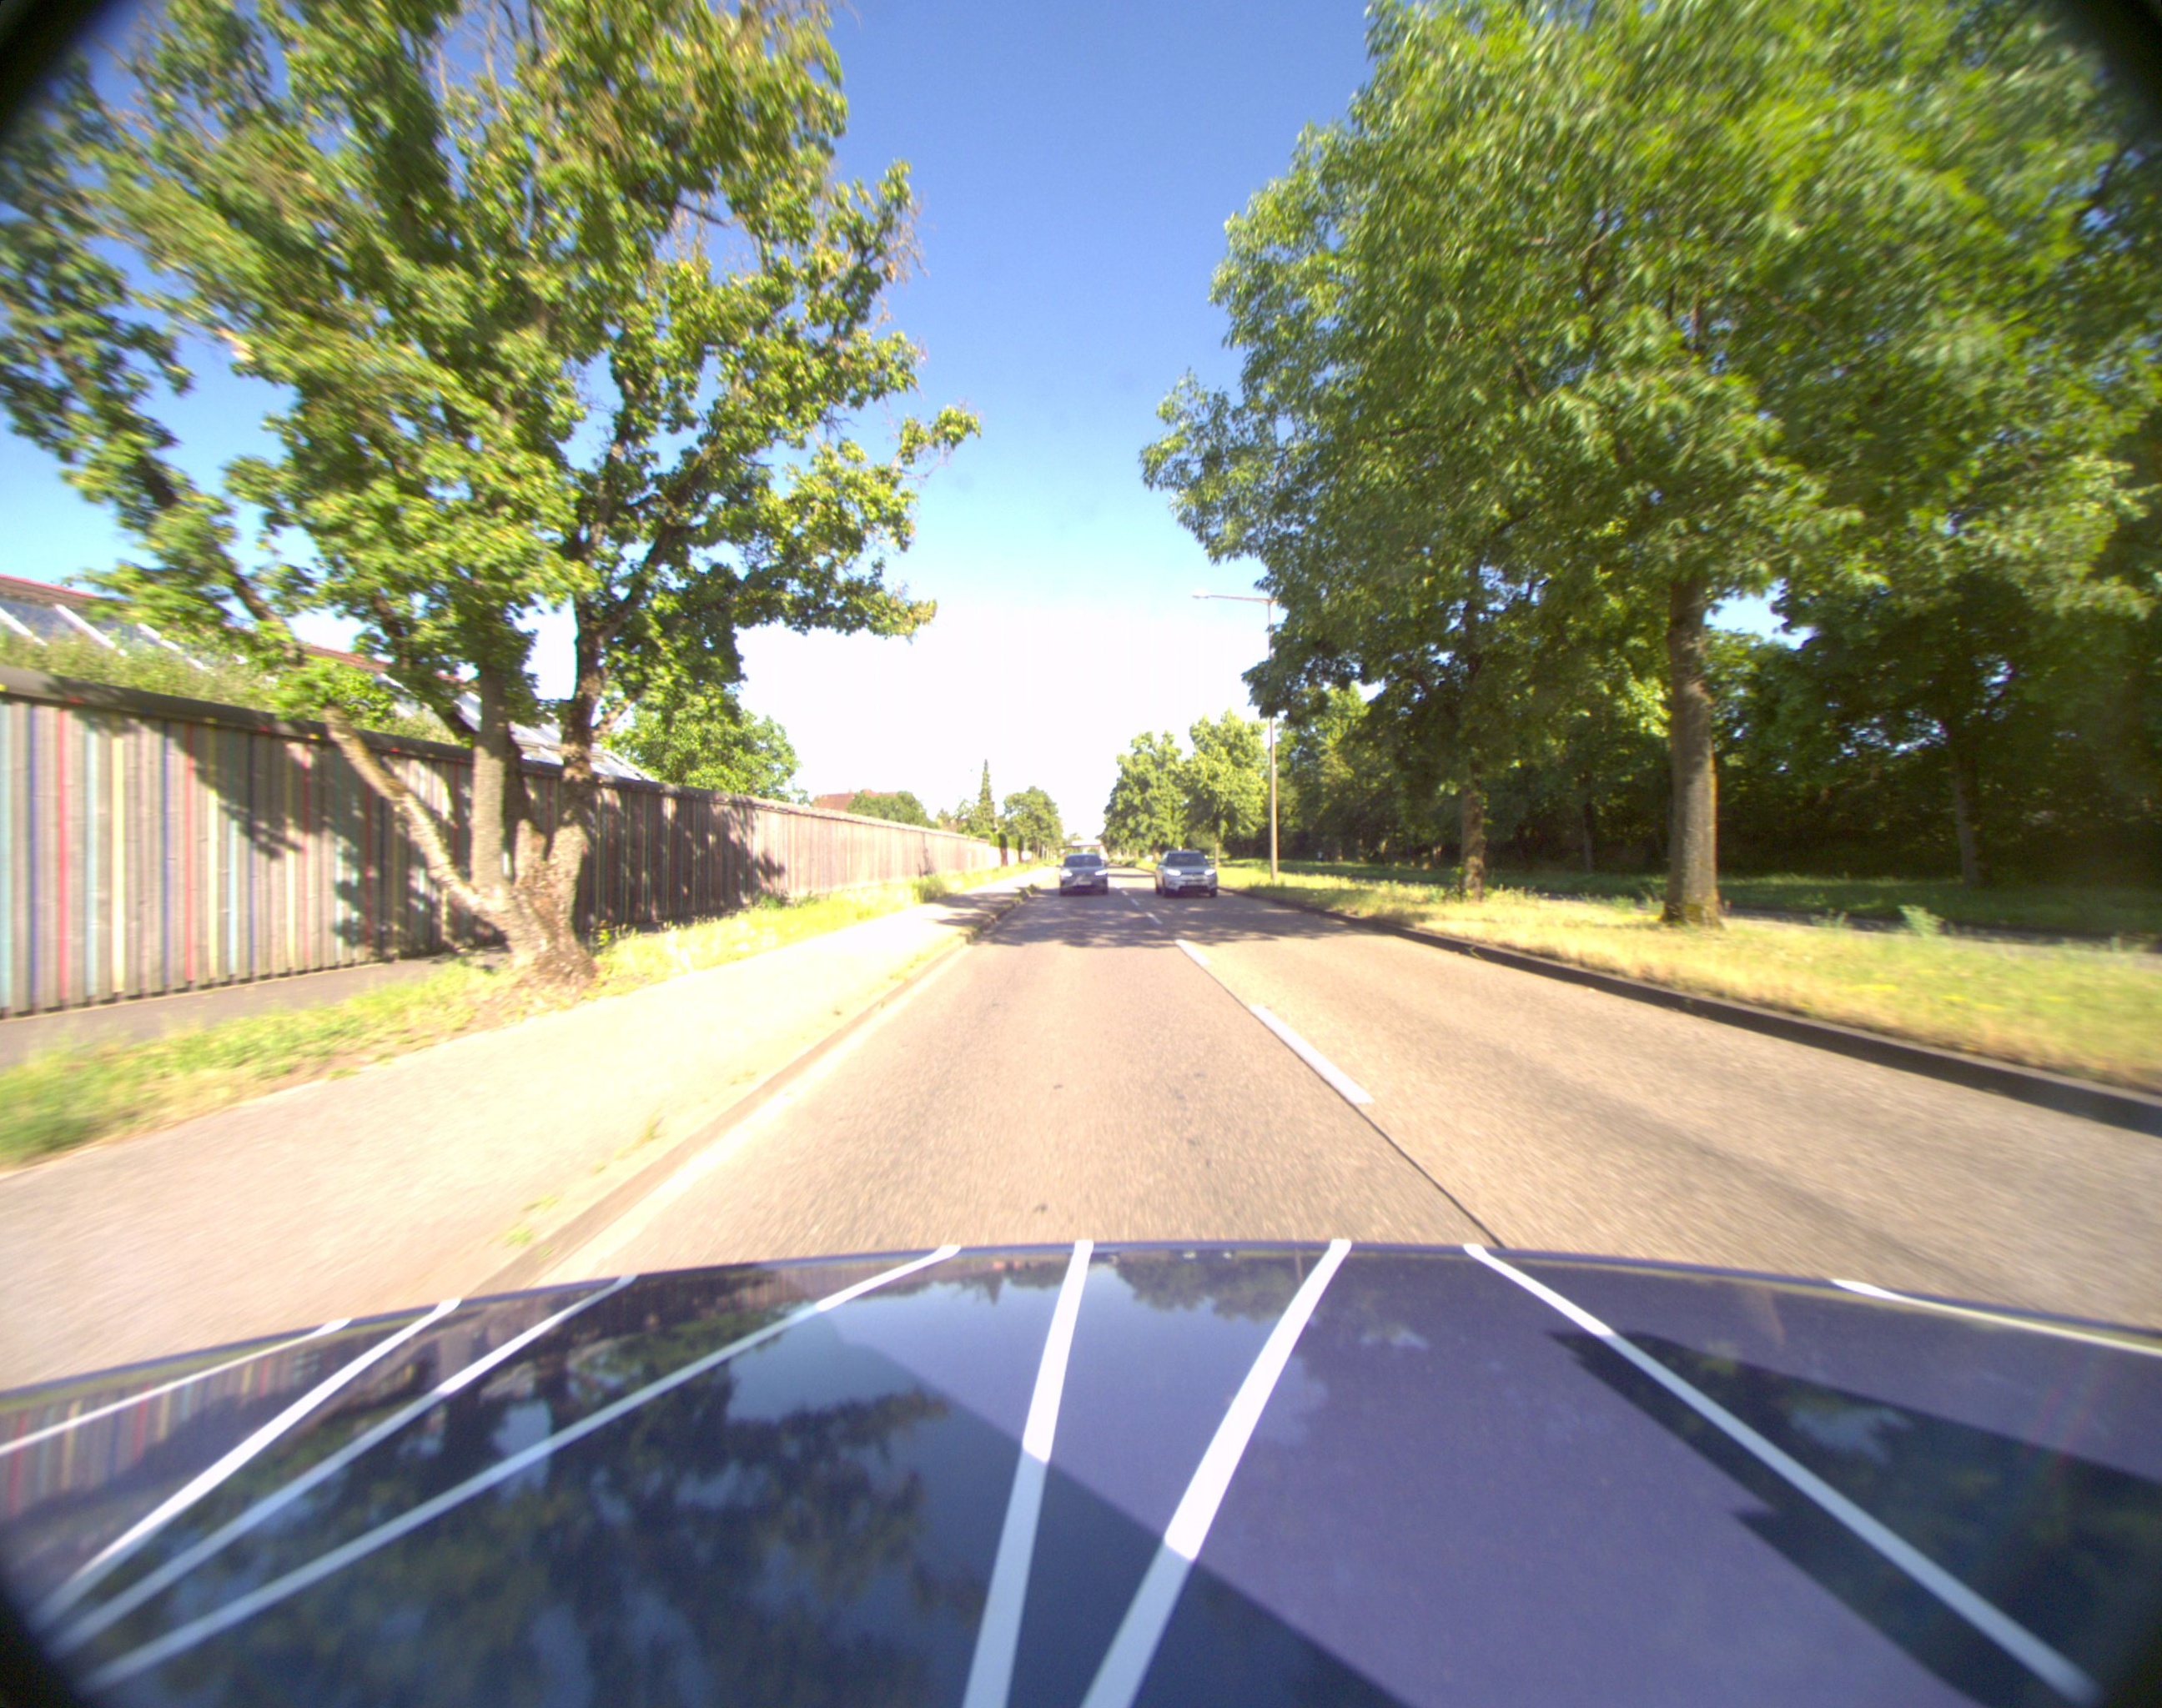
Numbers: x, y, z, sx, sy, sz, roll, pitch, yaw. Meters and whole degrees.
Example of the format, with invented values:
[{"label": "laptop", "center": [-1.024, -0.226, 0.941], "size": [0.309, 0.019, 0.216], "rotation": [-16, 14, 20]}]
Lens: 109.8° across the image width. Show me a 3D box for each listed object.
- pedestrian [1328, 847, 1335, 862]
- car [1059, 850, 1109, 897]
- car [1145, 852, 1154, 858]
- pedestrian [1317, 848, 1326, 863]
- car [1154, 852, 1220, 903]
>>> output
[{"label": "pedestrian", "center": [28.863, 0.055, 87.586], "size": [0.561, 1.650, 0.540], "rotation": [-2, 1, 4]}, {"label": "car", "center": [0.129, 0.717, 30.297], "size": [1.766, 1.606, 4.296], "rotation": [-3, 1, 0]}, {"label": "car", "center": [16.992, 0.273, 188.515], "size": [1.730, 1.448, 4.345], "rotation": [-1, 0, 0]}, {"label": "pedestrian", "center": [27.828, 0.185, 87.860], "size": [0.683, 1.650, 0.679], "rotation": [-4, 2, 2]}, {"label": "car", "center": [3.633, 0.758, 26.750], "size": [1.789, 1.600, 4.105], "rotation": [-1, 0, 0]}]
